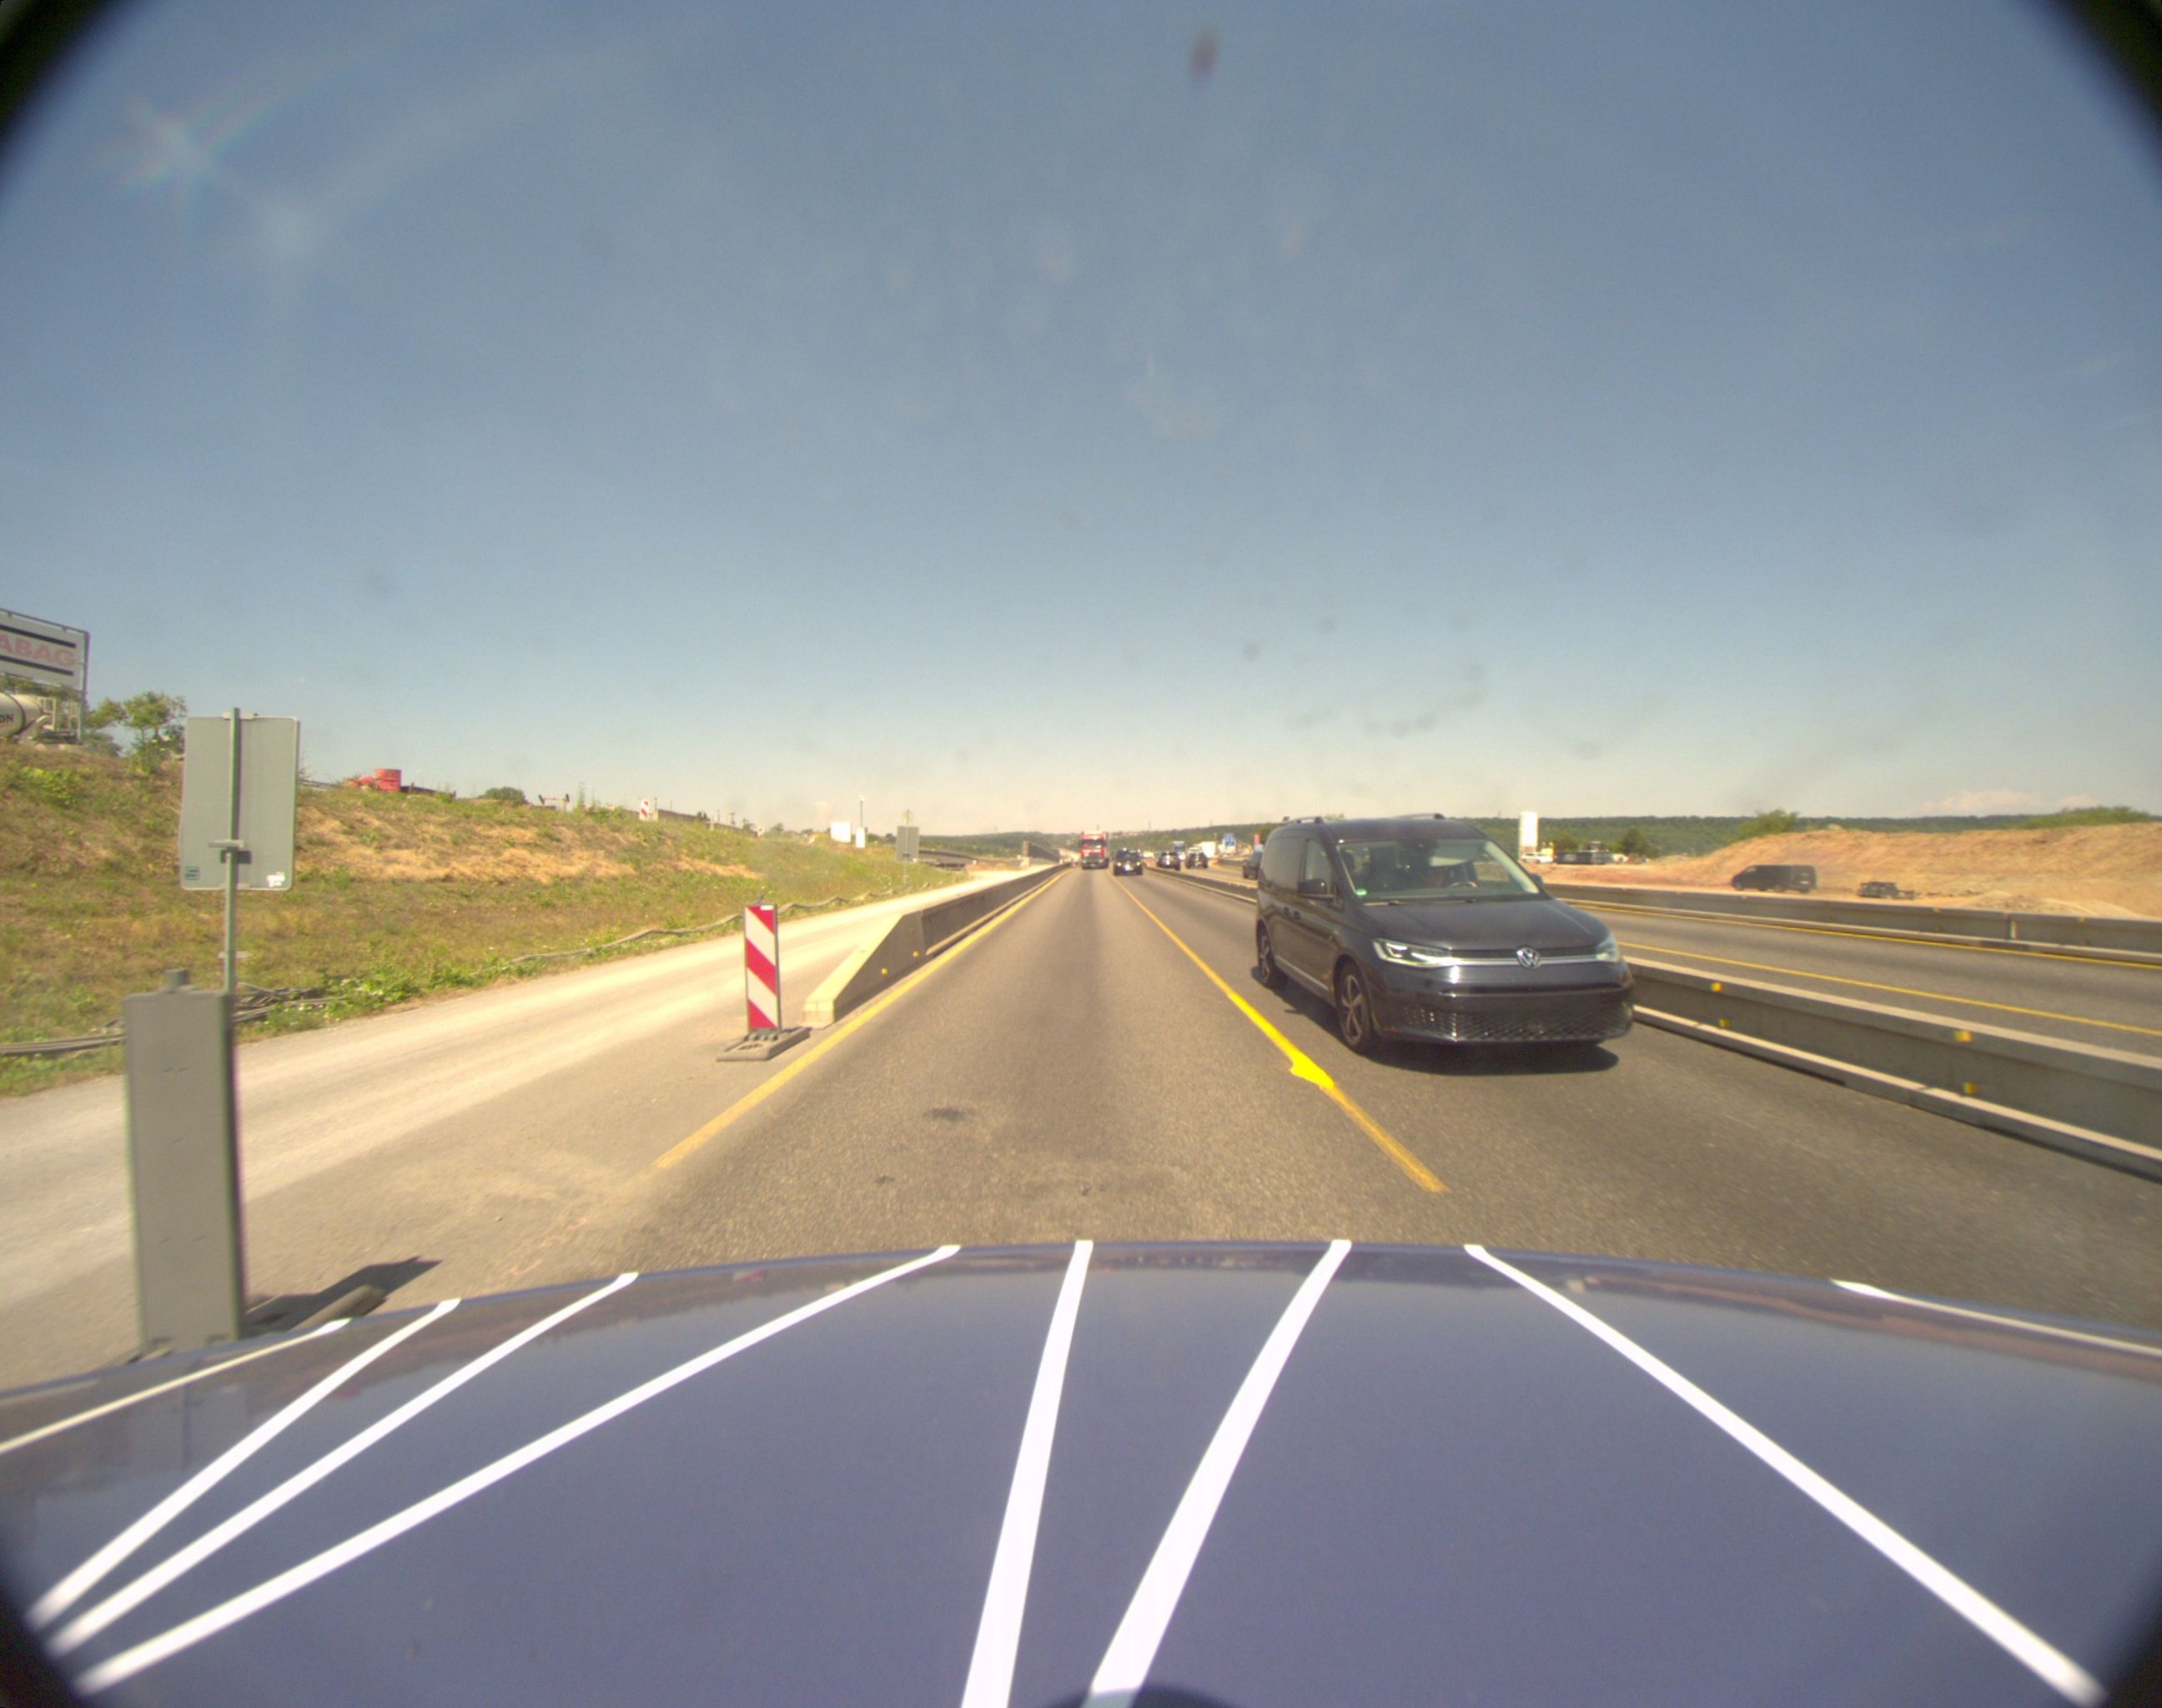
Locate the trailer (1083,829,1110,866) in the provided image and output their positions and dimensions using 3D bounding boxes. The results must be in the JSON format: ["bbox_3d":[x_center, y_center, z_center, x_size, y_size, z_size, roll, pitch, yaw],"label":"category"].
[{"bbox_3d":[1.844,-0.763,86.150,2.701,3.852,12.424,-1,0,3],"label":"trailer"}]

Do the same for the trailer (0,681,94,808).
[{"bbox_3d":[-37.627,-3.748,24.674,2.765,4.090,6.740,-1,0,-8],"label":"trailer"}]

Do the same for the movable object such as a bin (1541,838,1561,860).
[{"bbox_3d":[69.248,-0.760,112.107,1.995,3.122,4.493,0,1,25],"label":"movable object such as a bin"}]

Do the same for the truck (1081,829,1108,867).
[{"bbox_3d":[1.440,-0.611,79.402,2.626,3.880,4.934,-1,1,3],"label":"truck"}]

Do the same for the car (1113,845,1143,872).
[{"bbox_3d":[3.251,0.313,53.377,1.799,1.776,3.999,-1,0,-1],"label":"car"}]

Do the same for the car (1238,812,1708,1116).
[{"bbox_3d":[2.840,0.654,6.887,1.925,1.779,4.603,-2,0,1],"label":"car"}]

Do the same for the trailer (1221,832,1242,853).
[{"bbox_3d":[31.379,-2.310,157.864,2.763,4.090,13.994,-1,0,17],"label":"trailer"}]

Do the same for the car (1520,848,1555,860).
[{"bbox_3d":[57.940,-0.022,96.510,1.616,1.401,4.445,-1,0,-1],"label":"car"}]

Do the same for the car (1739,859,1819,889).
[{"bbox_3d":[49.278,1.395,53.757,1.998,2.002,4.000,-1,0,1],"label":"car"}]

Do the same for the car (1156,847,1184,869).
[{"bbox_3d":[7.379,0.278,63.219,1.776,1.731,5.038,-1,0,1],"label":"car"}]

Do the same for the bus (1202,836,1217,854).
[{"bbox_3d":[22.027,-1.517,130.766,2.353,3.107,7.233,-1,0,9],"label":"bus"}]

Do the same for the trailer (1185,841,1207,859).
[{"bbox_3d":[13.242,-0.430,87.555,2.135,1.970,5.236,1,0,5],"label":"trailer"}]

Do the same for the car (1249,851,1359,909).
[{"bbox_3d":[6.054,0.637,21.230,1.682,1.433,4.671,-1,0,0],"label":"car"}]

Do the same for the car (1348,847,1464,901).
[{"bbox_3d":[9.786,0.550,23.275,1.729,1.470,4.393,-1,0,0],"label":"car"}]
